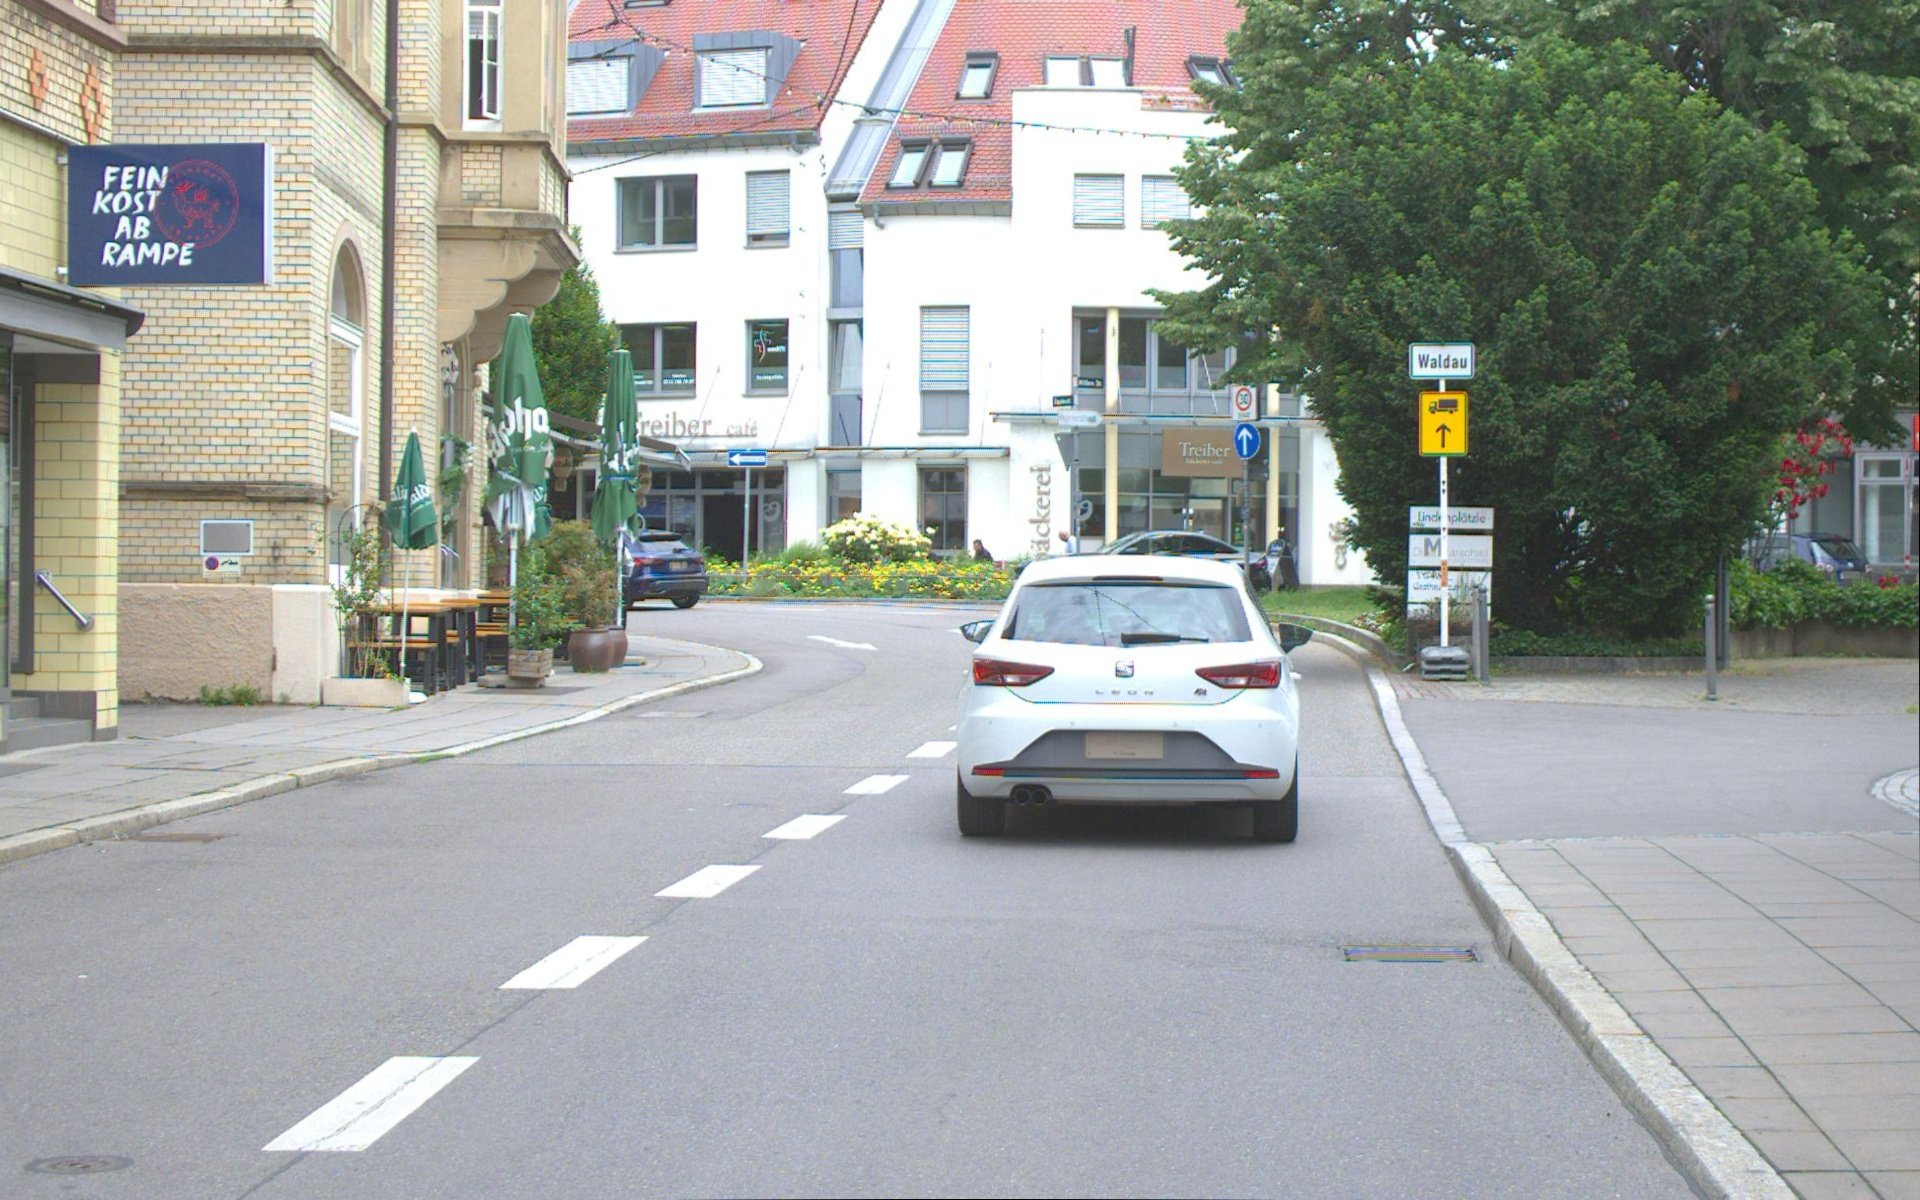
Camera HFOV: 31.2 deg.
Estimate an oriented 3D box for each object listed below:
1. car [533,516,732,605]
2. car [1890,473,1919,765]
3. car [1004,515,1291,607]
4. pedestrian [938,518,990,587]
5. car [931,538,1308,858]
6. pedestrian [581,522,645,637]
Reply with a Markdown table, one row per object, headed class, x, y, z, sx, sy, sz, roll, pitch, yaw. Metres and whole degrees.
| class | x | y | z | sx | sy | sz | roll | pitch | yaw |
| --- | --- | --- | --- | --- | --- | --- | --- | --- | --- |
| car | -5.831 | -0.723 | 60.913 | 1.812 | 1.475 | 3.870 | -1 | 2 | -36 |
| car | 8.014 | 0.150 | 21.241 | 3.987 | 1.831 | 2.000 | 1 | 1 | 1 |
| car | 3.265 | -0.704 | 60.723 | 4.902 | 1.552 | 2.250 | 0 | 1 | -1 |
| pedestrian | 0.079 | -0.918 | 66.350 | 0.712 | 1.308 | 0.801 | 0 | 1 | -26 |
| car | 0.944 | 0.435 | 18.542 | 1.812 | 1.475 | 3.870 | 0 | 2 | 5 |
| pedestrian | -4.703 | -0.282 | 46.614 | 0.834 | 1.546 | 0.627 | 0 | 1 | -4 |
